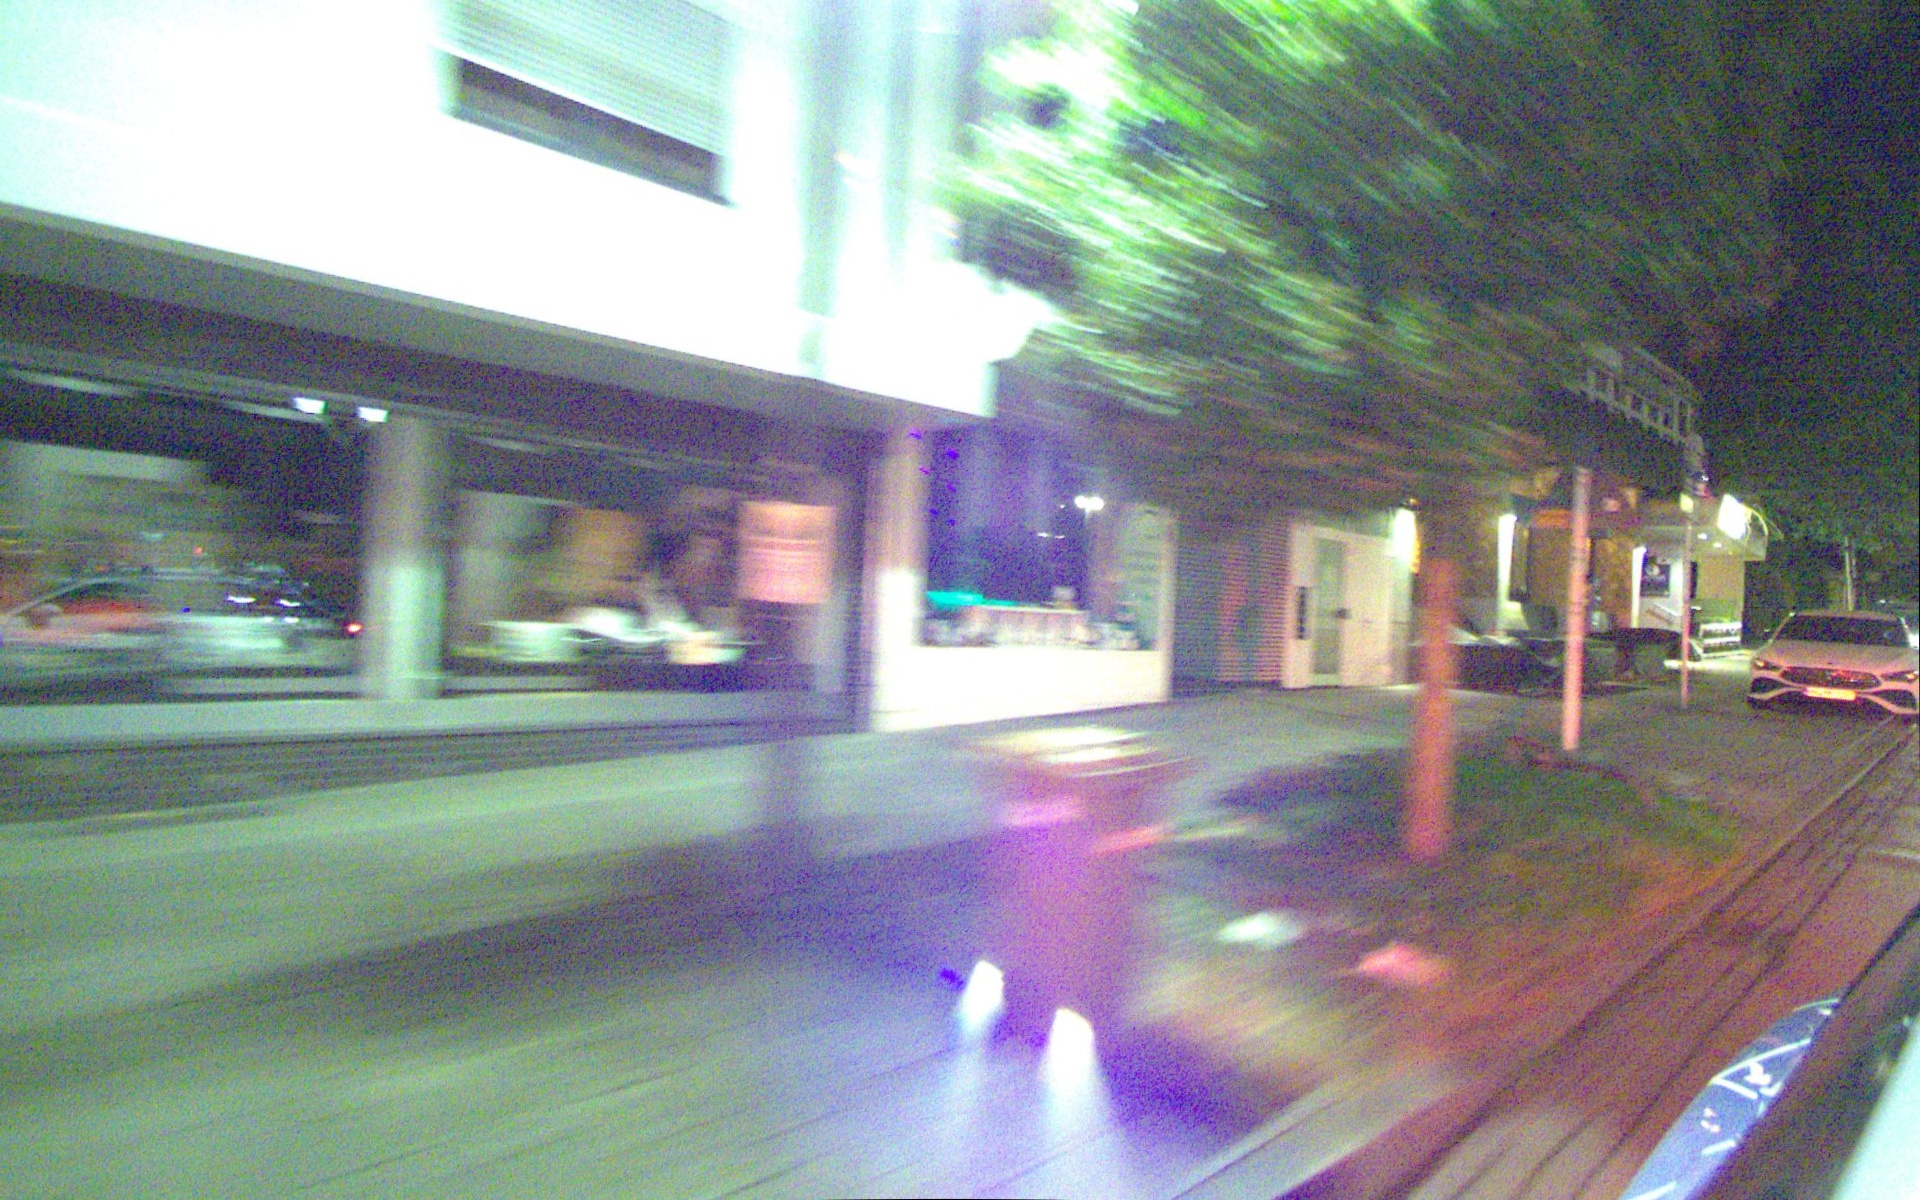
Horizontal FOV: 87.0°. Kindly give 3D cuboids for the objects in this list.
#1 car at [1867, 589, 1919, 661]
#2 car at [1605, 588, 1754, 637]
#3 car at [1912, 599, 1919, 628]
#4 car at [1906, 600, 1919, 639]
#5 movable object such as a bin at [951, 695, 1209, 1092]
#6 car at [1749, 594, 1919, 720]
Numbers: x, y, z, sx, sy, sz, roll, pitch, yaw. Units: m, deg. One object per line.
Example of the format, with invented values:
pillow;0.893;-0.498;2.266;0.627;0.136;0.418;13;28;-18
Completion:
car;24.278;0.597;25.504;4.308;1.661;1.789;0;3;-45
car;26.020;0.418;36.729;4.010;1.605;1.700;1;1;15
car;49.690;0.669;51.572;1.638;1.485;3.716;-1;-1;44
car;38.434;0.724;39.643;4.534;1.465;1.678;0;0;-43
movable object such as a bin;0.374;0.809;3.062;0.523;0.949;0.621;0;1;39
car;12.899;0.694;14.494;4.518;1.460;1.860;0;3;-44
